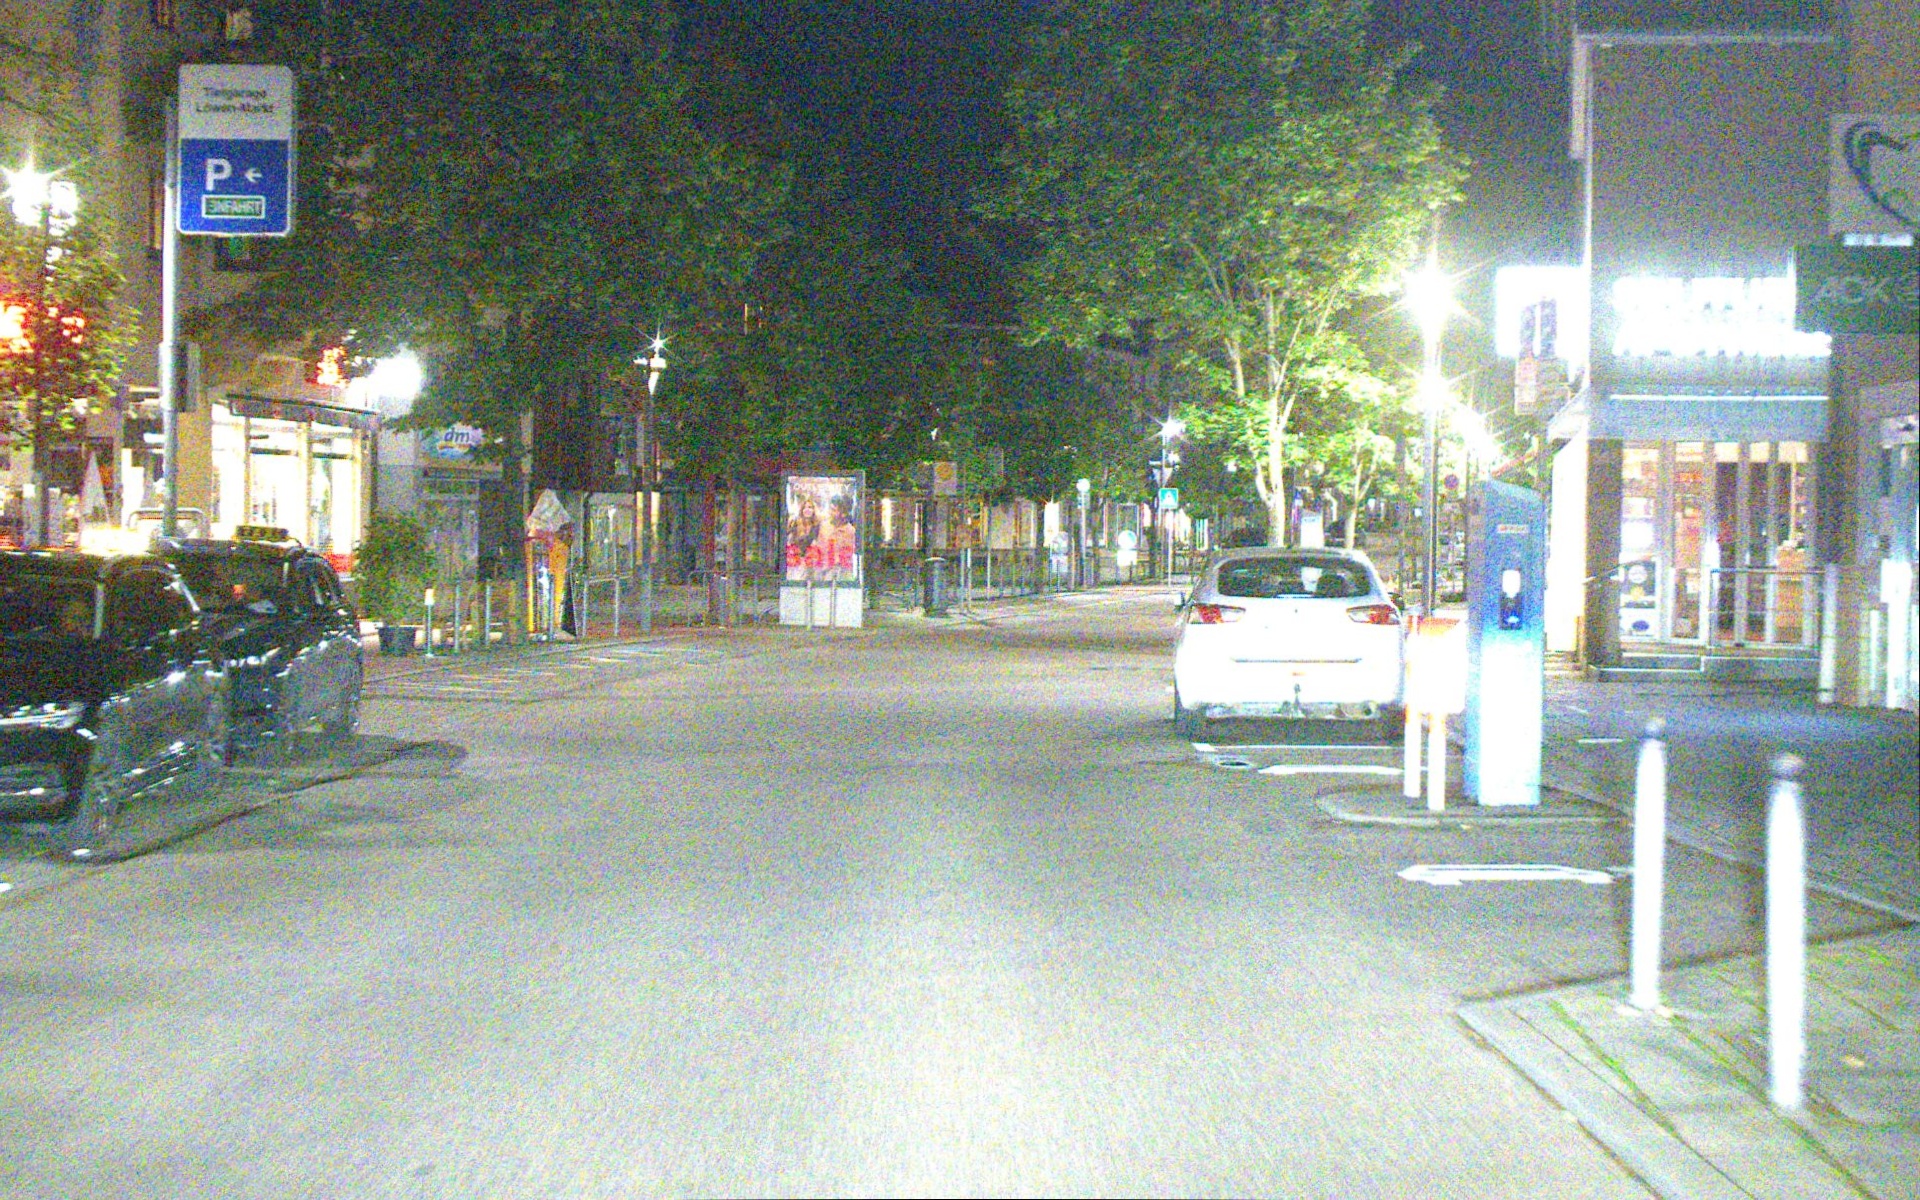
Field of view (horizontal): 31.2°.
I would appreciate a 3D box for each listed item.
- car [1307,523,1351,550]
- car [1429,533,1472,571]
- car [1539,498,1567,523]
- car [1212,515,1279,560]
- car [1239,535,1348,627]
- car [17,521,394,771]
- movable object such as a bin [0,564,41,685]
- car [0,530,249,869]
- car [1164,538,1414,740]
[{"bbox_3d":[20.183,-3.491,187.780,1.915,1.366,4.455,0,2,12],"label":"car"},{"bbox_3d":[19.735,-1.932,138.154,1.675,1.454,3.674,0,2,9],"label":"car"},{"bbox_3d":[41.095,-6.215,238.140,1.776,1.646,4.362,0,2,12],"label":"car"},{"bbox_3d":[11.194,-2.461,134.521,2.019,1.685,5.001,2,2,11],"label":"car"},{"bbox_3d":[5.515,-0.344,57.036,1.734,1.436,4.496,0,1,5],"label":"car"},{"bbox_3d":[-5.315,0.244,24.825,1.758,1.631,4.815,0,1,-1],"label":"car"},{"bbox_3d":[-8.654,0.214,30.596,0.747,1.061,0.792,0,0,0],"label":"movable object such as a bin"},{"bbox_3d":[-5.146,0.410,18.304,1.905,1.536,4.783,1,1,-3],"label":"car"},{"bbox_3d":[2.551,0.275,27.560,1.742,1.482,4.636,0,0,2],"label":"car"}]
